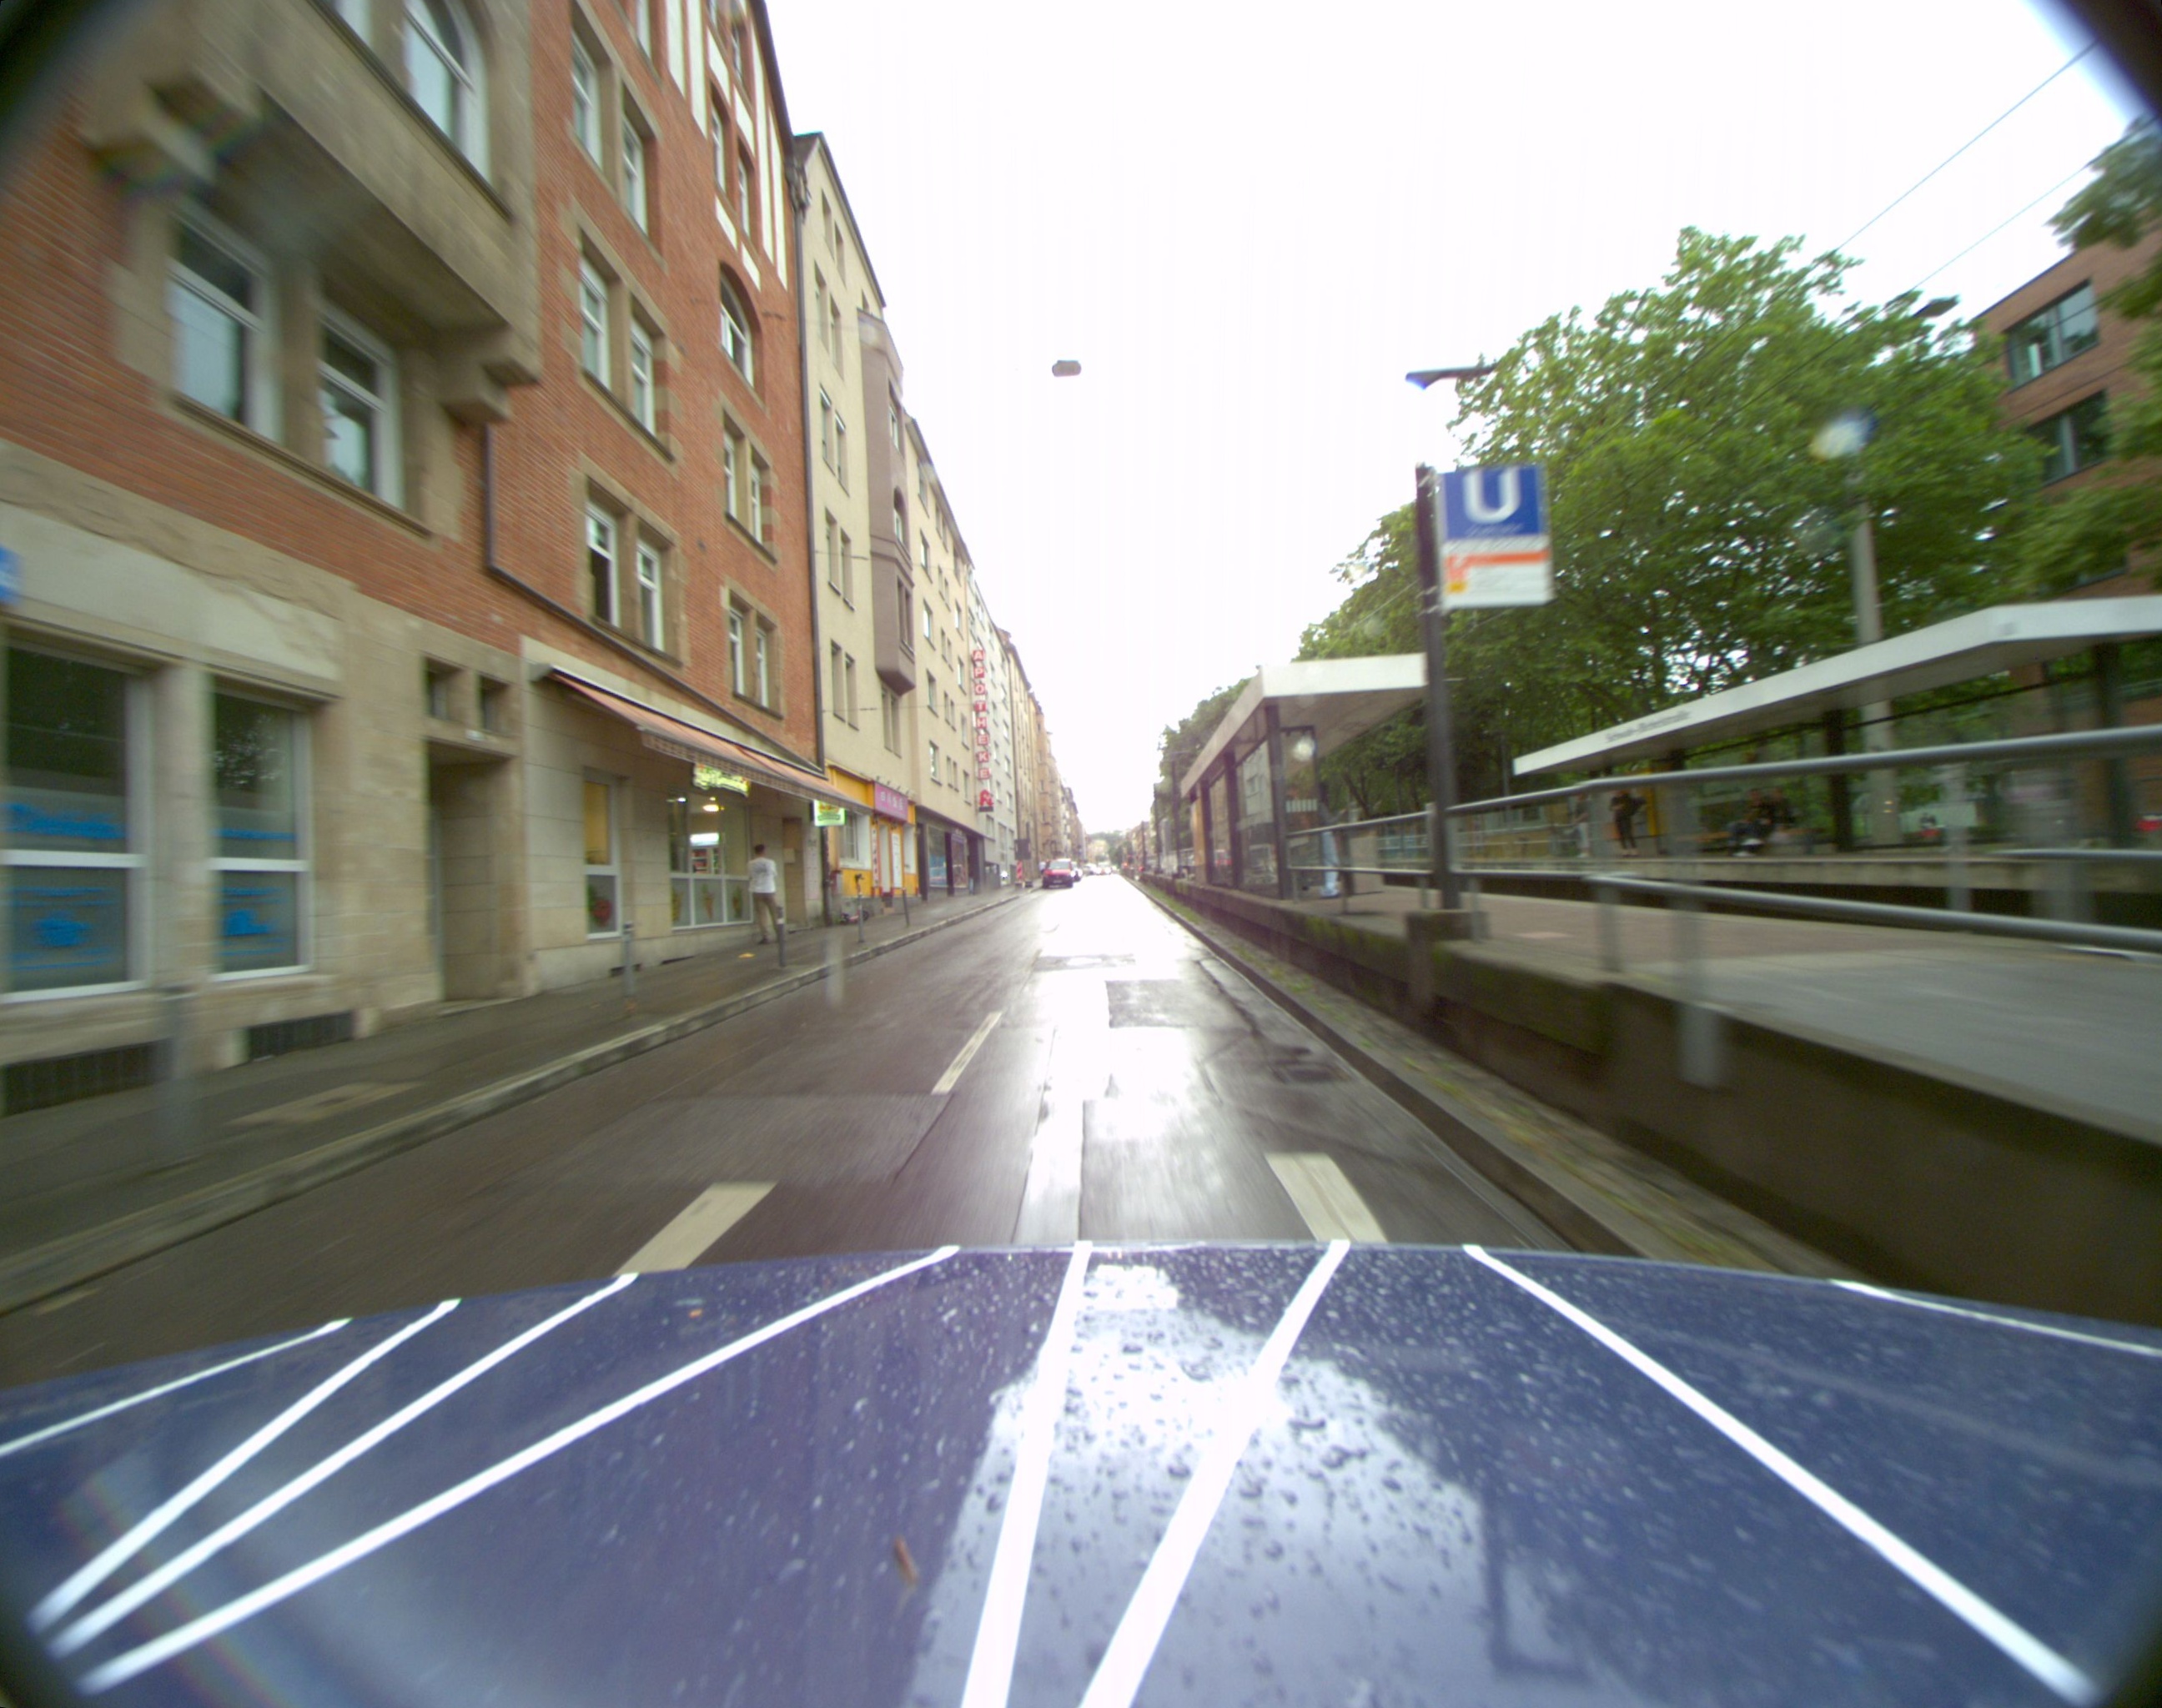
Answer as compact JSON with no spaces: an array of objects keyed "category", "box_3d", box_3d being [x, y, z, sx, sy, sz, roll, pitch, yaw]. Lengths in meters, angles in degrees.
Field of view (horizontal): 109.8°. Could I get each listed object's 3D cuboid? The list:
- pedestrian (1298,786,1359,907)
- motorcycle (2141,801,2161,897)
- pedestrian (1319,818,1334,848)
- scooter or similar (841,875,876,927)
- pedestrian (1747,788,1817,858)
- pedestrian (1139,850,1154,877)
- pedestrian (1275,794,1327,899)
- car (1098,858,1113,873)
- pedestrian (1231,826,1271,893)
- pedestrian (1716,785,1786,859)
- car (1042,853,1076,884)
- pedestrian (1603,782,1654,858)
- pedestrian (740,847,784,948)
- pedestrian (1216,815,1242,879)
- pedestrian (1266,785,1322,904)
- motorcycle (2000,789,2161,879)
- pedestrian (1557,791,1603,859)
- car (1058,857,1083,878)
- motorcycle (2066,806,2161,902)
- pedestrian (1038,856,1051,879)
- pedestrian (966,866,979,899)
[{"category":"pedestrian","box_3d":[3.340,-0.097,10.283,0.615,1.572,0.507,-3,0,5]},{"category":"motorcycle","box_3d":[22.429,-0.208,14.149,3.874,1.805,1.006,-3,0,0]},{"category":"pedestrian","box_3d":[13.491,-1.152,41.763,0.563,1.631,0.689,-4,0,9]},{"category":"scooter or similar","box_3d":[-5.606,1.163,19.180,0.258,1.214,1.195,-3,0,11]},{"category":"pedestrian","box_3d":[13.011,-0.567,14.118,0.705,1.233,0.564,-4,0,0]},{"category":"pedestrian","box_3d":[4.380,0.646,50.941,0.861,1.788,0.787,-4,0,1]},{"category":"pedestrian","box_3d":[3.427,-0.112,11.844,0.615,1.572,0.507,-3,0,5]},{"category":"car","box_3d":[2.899,1.414,90.553,1.620,1.592,4.068,-2,-2,1]},{"category":"pedestrian","box_3d":[3.234,0.100,14.496,0.615,1.219,0.507,-3,0,5]},{"category":"pedestrian","box_3d":[12.999,-0.602,14.759,0.779,1.354,0.564,-4,0,0]},{"category":"car","box_3d":[-1.392,0.922,49.963,1.980,1.827,5.245,-3,0,0]},{"category":"pedestrian","box_3d":[12.735,-0.780,17.695,0.564,1.705,0.706,-4,0,0]},{"category":"pedestrian","box_3d":[-5.928,0.785,14.137,0.562,1.820,0.580,2,2,45]},{"category":"pedestrian","box_3d":[3.746,-0.174,19.255,0.496,1.595,0.637,-3,0,18]},{"category":"pedestrian","box_3d":[3.129,-0.134,11.215,0.615,1.678,0.587,-3,0,5]},{"category":"motorcycle","box_3d":[22.639,-0.474,16.565,3.874,1.763,1.006,-3,0,0]},{"category":"pedestrian","box_3d":[12.565,-0.720,19.141,0.688,1.631,0.564,-4,0,0]},{"category":"car","box_3d":[-0.863,1.159,65.807,1.770,1.698,4.500,-3,-1,3]},{"category":"motorcycle","box_3d":[22.470,-0.090,15.298,3.874,1.805,1.006,-3,0,0]},{"category":"pedestrian","box_3d":[-2.932,1.077,60.876,0.853,1.747,0.837,-4,0,2]},{"category":"pedestrian","box_3d":[-5.490,1.418,38.436,0.482,1.635,0.331,-4,0,-19]}]
